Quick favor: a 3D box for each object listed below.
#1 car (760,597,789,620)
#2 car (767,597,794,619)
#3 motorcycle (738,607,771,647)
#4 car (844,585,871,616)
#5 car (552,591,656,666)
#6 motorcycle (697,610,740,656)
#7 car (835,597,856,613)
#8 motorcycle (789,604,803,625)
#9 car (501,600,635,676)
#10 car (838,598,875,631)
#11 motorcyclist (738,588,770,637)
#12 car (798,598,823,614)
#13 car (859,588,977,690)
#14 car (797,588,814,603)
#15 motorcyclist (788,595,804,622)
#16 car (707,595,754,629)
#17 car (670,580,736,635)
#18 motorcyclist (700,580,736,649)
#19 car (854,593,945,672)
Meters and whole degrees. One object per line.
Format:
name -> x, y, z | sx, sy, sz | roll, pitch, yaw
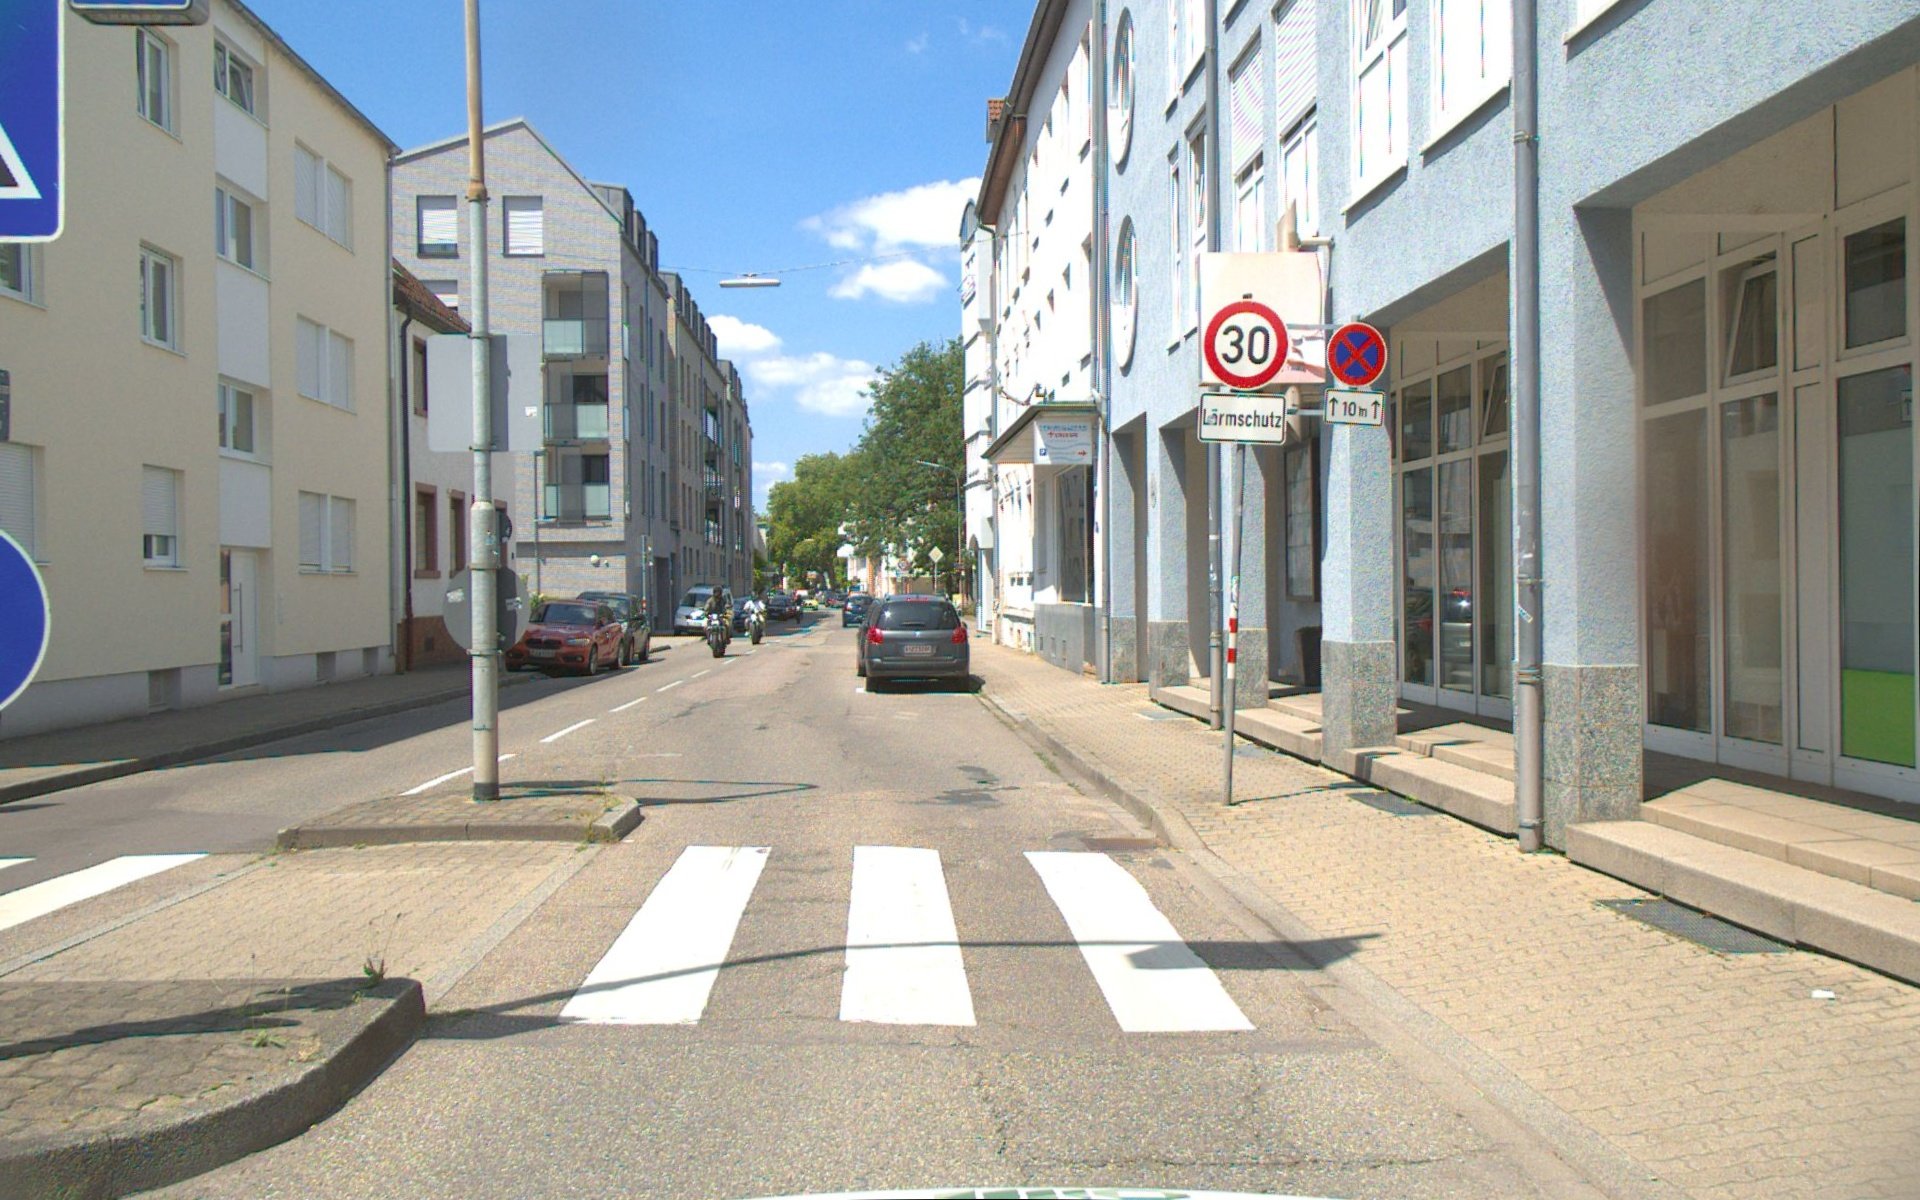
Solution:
car -> -12.312, 0.567, 109.732 | 1.698, 1.467, 3.997 | -1, 0, -4
car -> -12.433, 0.522, 114.743 | 1.698, 1.467, 3.997 | -1, 0, -4
motorcycle -> -6.417, 0.817, 51.704 | 0.878, 1.196, 2.206 | -1, 0, -3
car -> -6.971, 0.022, 112.886 | 1.802, 2.049, 3.998 | -1, 1, -3
car -> -8.379, 0.635, 39.183 | 1.758, 1.675, 3.943 | 0, 0, -3
motorcycle -> -6.030, 0.809, 41.345 | 0.698, 1.046, 2.239 | -2, 1, 0
car -> -12.157, 0.481, 175.090 | 1.956, 1.646, 3.993 | 0, 0, -7
motorcycle -> -9.431, 0.834, 94.979 | 0.674, 1.142, 2.027 | -1, 0, -3
car -> -8.055, 0.736, 34.340 | 1.796, 1.441, 4.289 | -1, 0, -1
car -> -4.936, 0.675, 79.254 | 1.681, 1.426, 3.998 | -1, 1, -3
motorcyclist -> -6.431, 0.389, 51.739 | 0.898, 1.506, 1.202 | -1, 0, -3
car -> -13.713, 0.559, 151.964 | 1.953, 1.405, 4.391 | 1, 0, -2
car -> -0.765, 0.588, 27.354 | 1.676, 1.534, 3.996 | -1, 0, -5
car -> -21.386, -0.600, 228.882 | 2.117, 2.049, 3.991 | -1, 0, -10
motorcyclist -> -9.410, 0.467, 94.910 | 0.806, 1.535, 1.056 | -1, 0, -3
car -> -10.320, 0.544, 74.521 | 1.688, 1.481, 4.003 | 0, 0, -2
car -> -9.566, 0.258, 61.887 | 1.721, 1.925, 4.337 | 1, 0, 0
motorcyclist -> -6.029, 0.353, 41.249 | 0.698, 1.663, 1.069 | -2, 0, 0
car -> -1.281, 0.608, 33.374 | 1.695, 1.445, 4.541 | -1, 0, -4
